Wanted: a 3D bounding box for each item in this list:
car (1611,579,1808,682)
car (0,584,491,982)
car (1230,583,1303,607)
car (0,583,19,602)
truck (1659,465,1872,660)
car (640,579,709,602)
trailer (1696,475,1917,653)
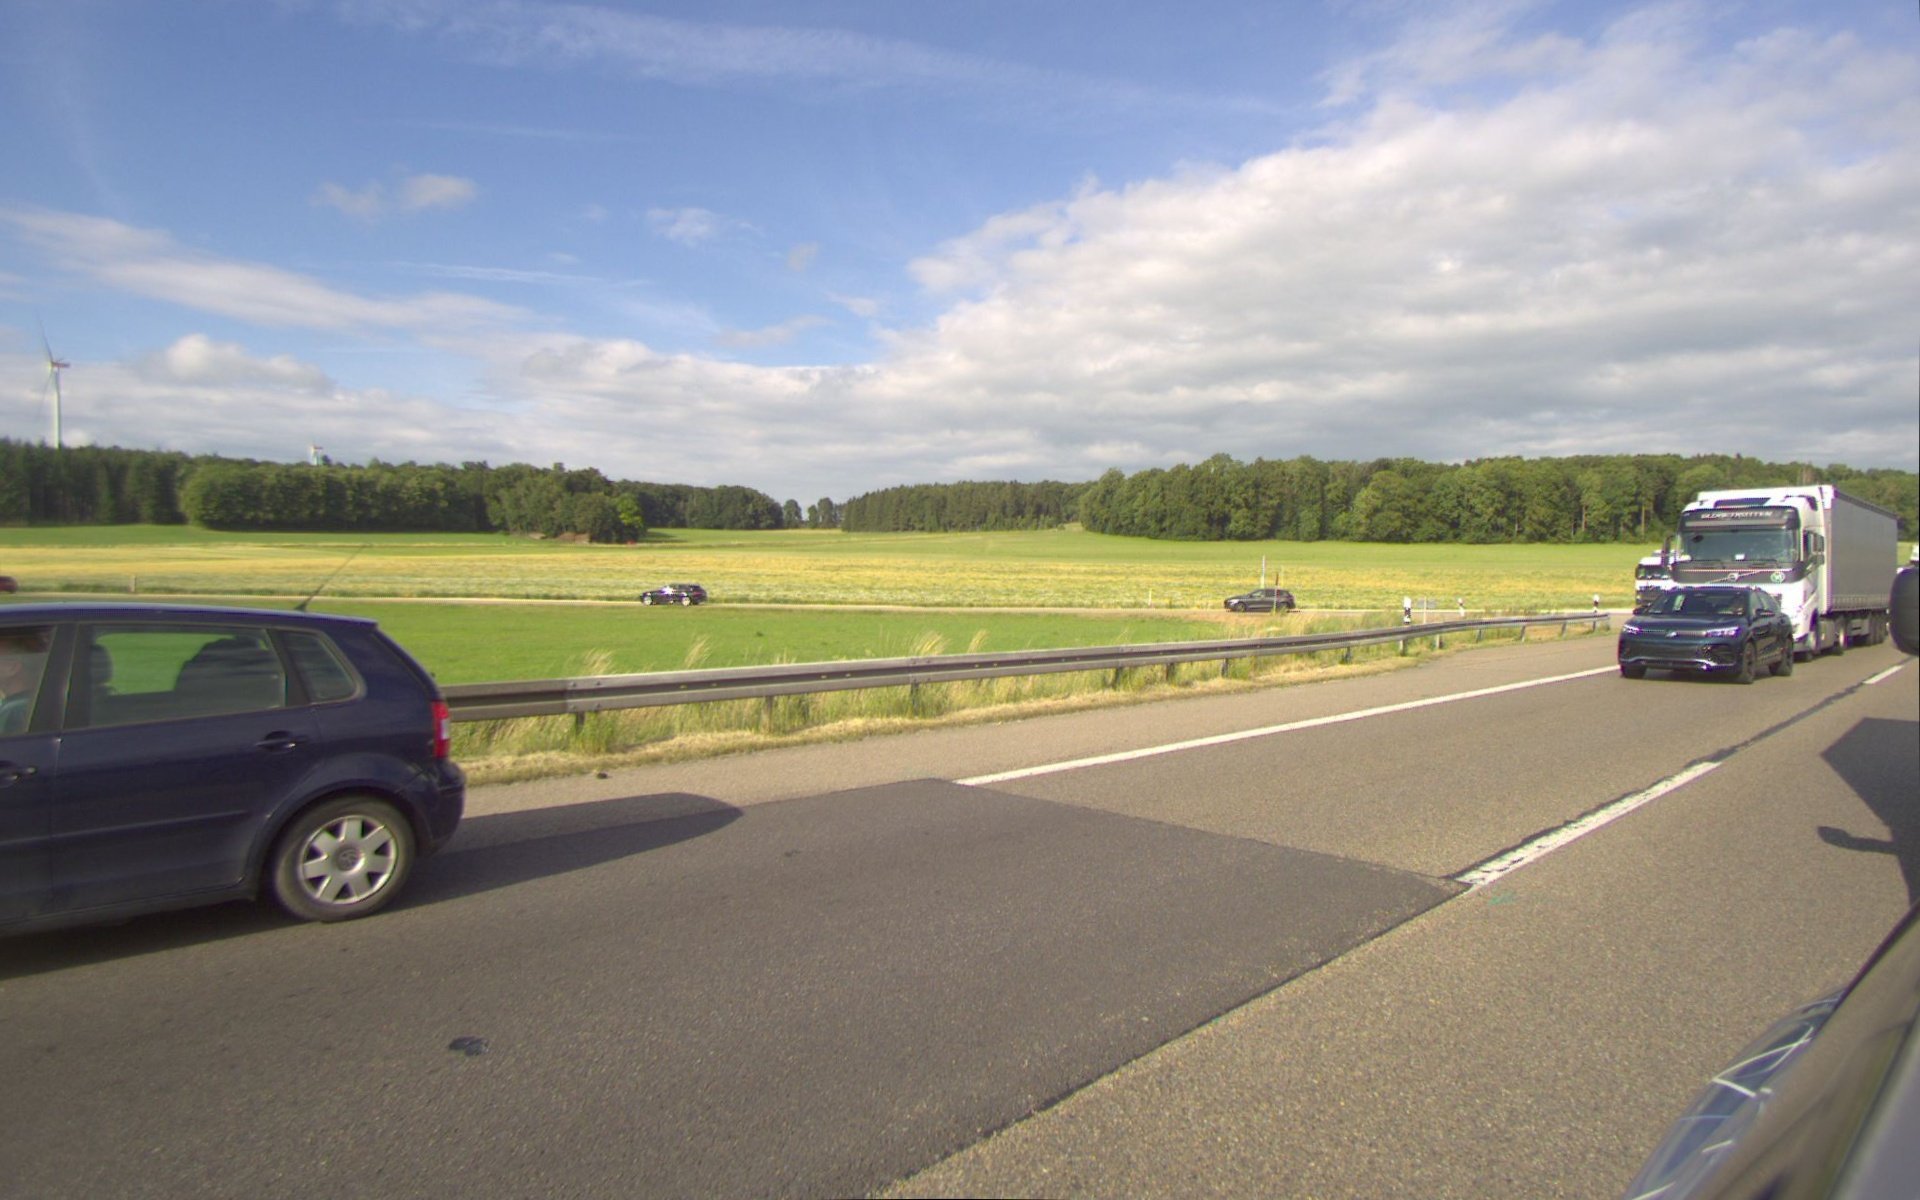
[{"bbox_3d":[13.415,0.449,18.043,4.047,1.616,1.997,-1,1,-41],"label":"car"},{"bbox_3d":[-4.205,0.672,4.284,3.710,1.464,1.712,-1,1,-42],"label":"car"},{"bbox_3d":[18.987,-0.311,62.941,4.154,1.505,1.832,0,0,12],"label":"car"},{"bbox_3d":[-75.767,-0.561,78.650,4.154,1.505,1.832,0,0,12],"label":"car"},{"bbox_3d":[19.314,-0.819,24.133,6.387,4.040,2.840,-1,0,-41],"label":"truck"},{"bbox_3d":[-19.471,-0.639,69.117,4.154,1.505,1.832,0,0,12],"label":"car"},{"bbox_3d":[23.655,-0.880,27.909,11.916,4.032,2.824,-1,0,-41],"label":"trailer"}]
